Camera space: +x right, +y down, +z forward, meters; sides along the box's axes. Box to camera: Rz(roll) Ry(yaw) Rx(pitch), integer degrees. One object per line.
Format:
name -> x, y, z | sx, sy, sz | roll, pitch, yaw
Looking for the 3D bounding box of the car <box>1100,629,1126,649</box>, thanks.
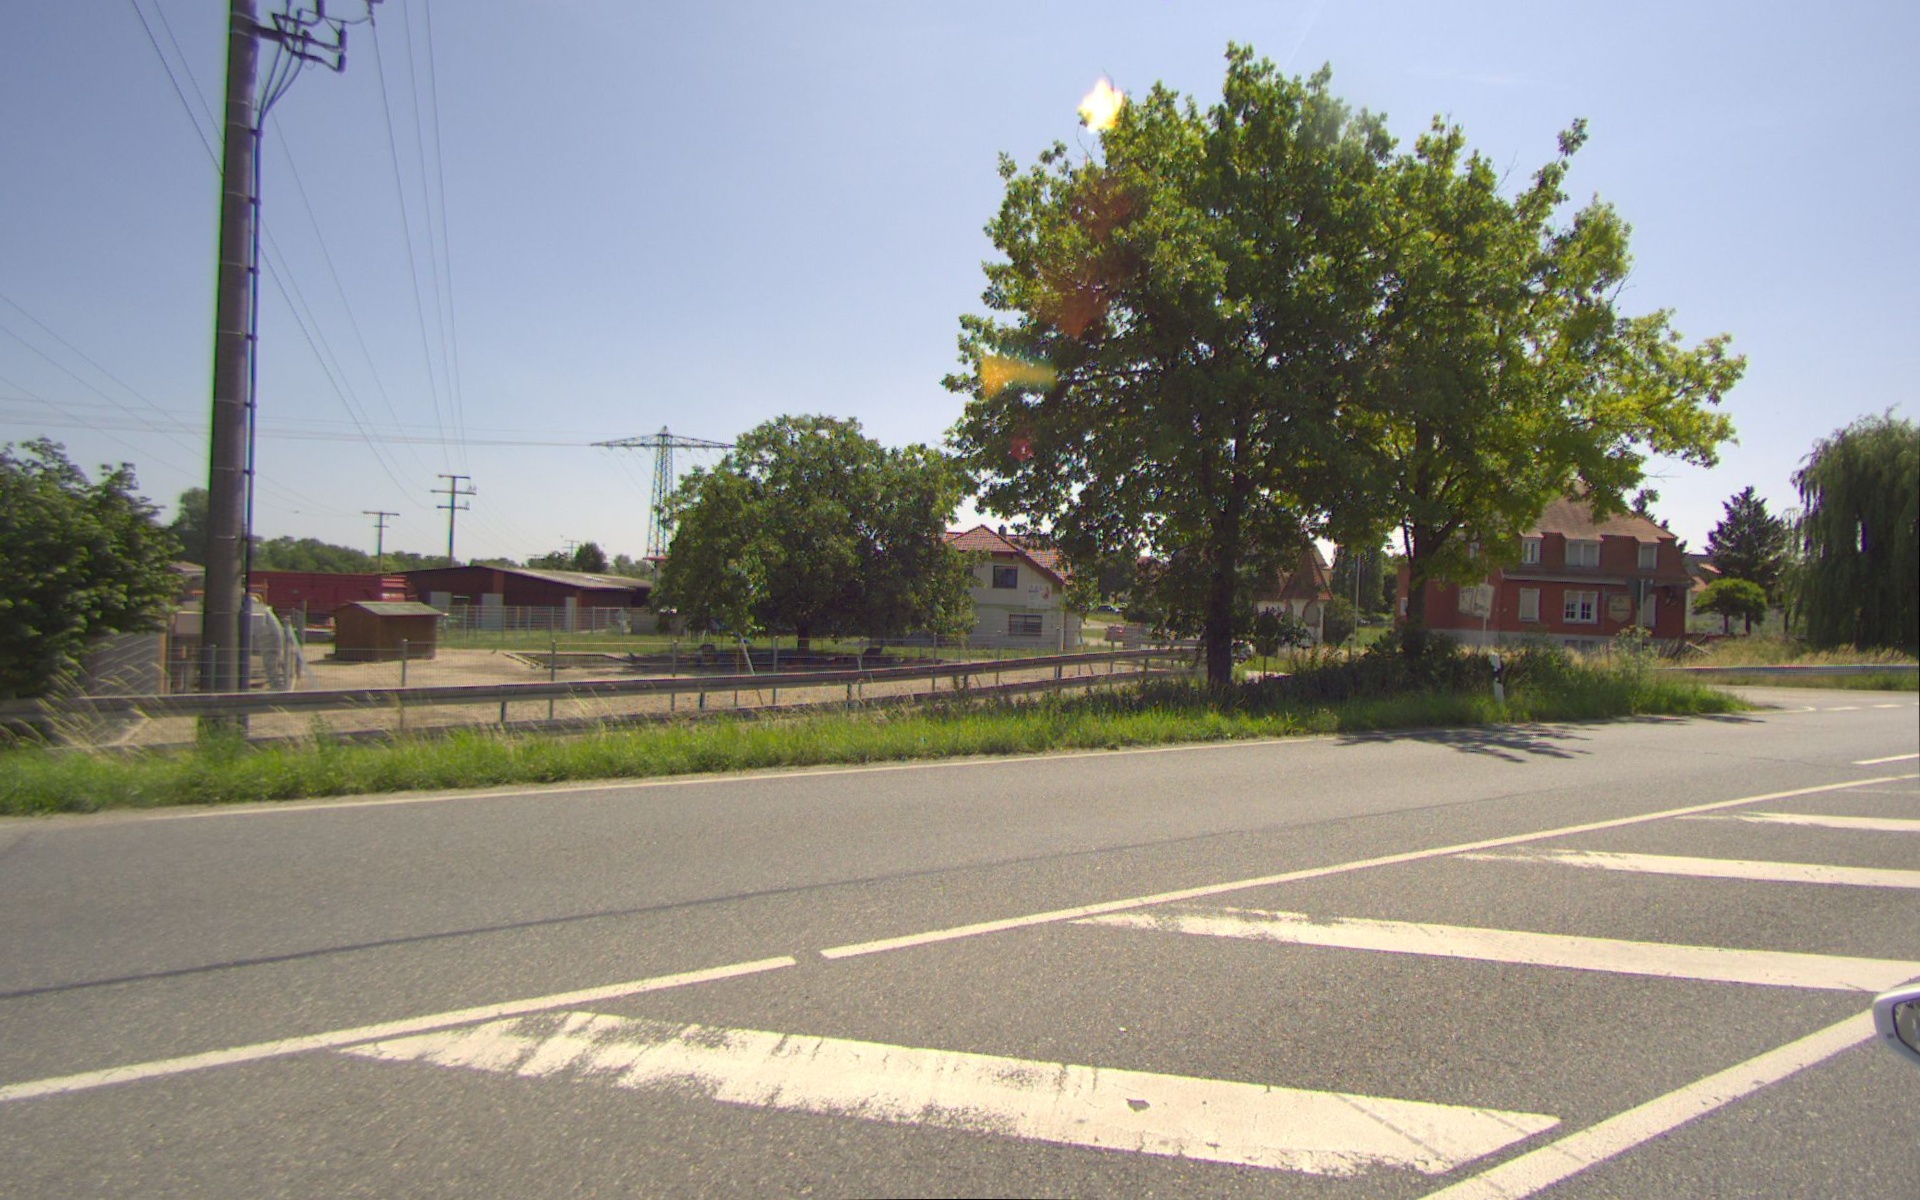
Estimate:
car -> 14.746, 3.740, 97.063 | 1.769, 1.750, 3.865 | 0, 0, -4
